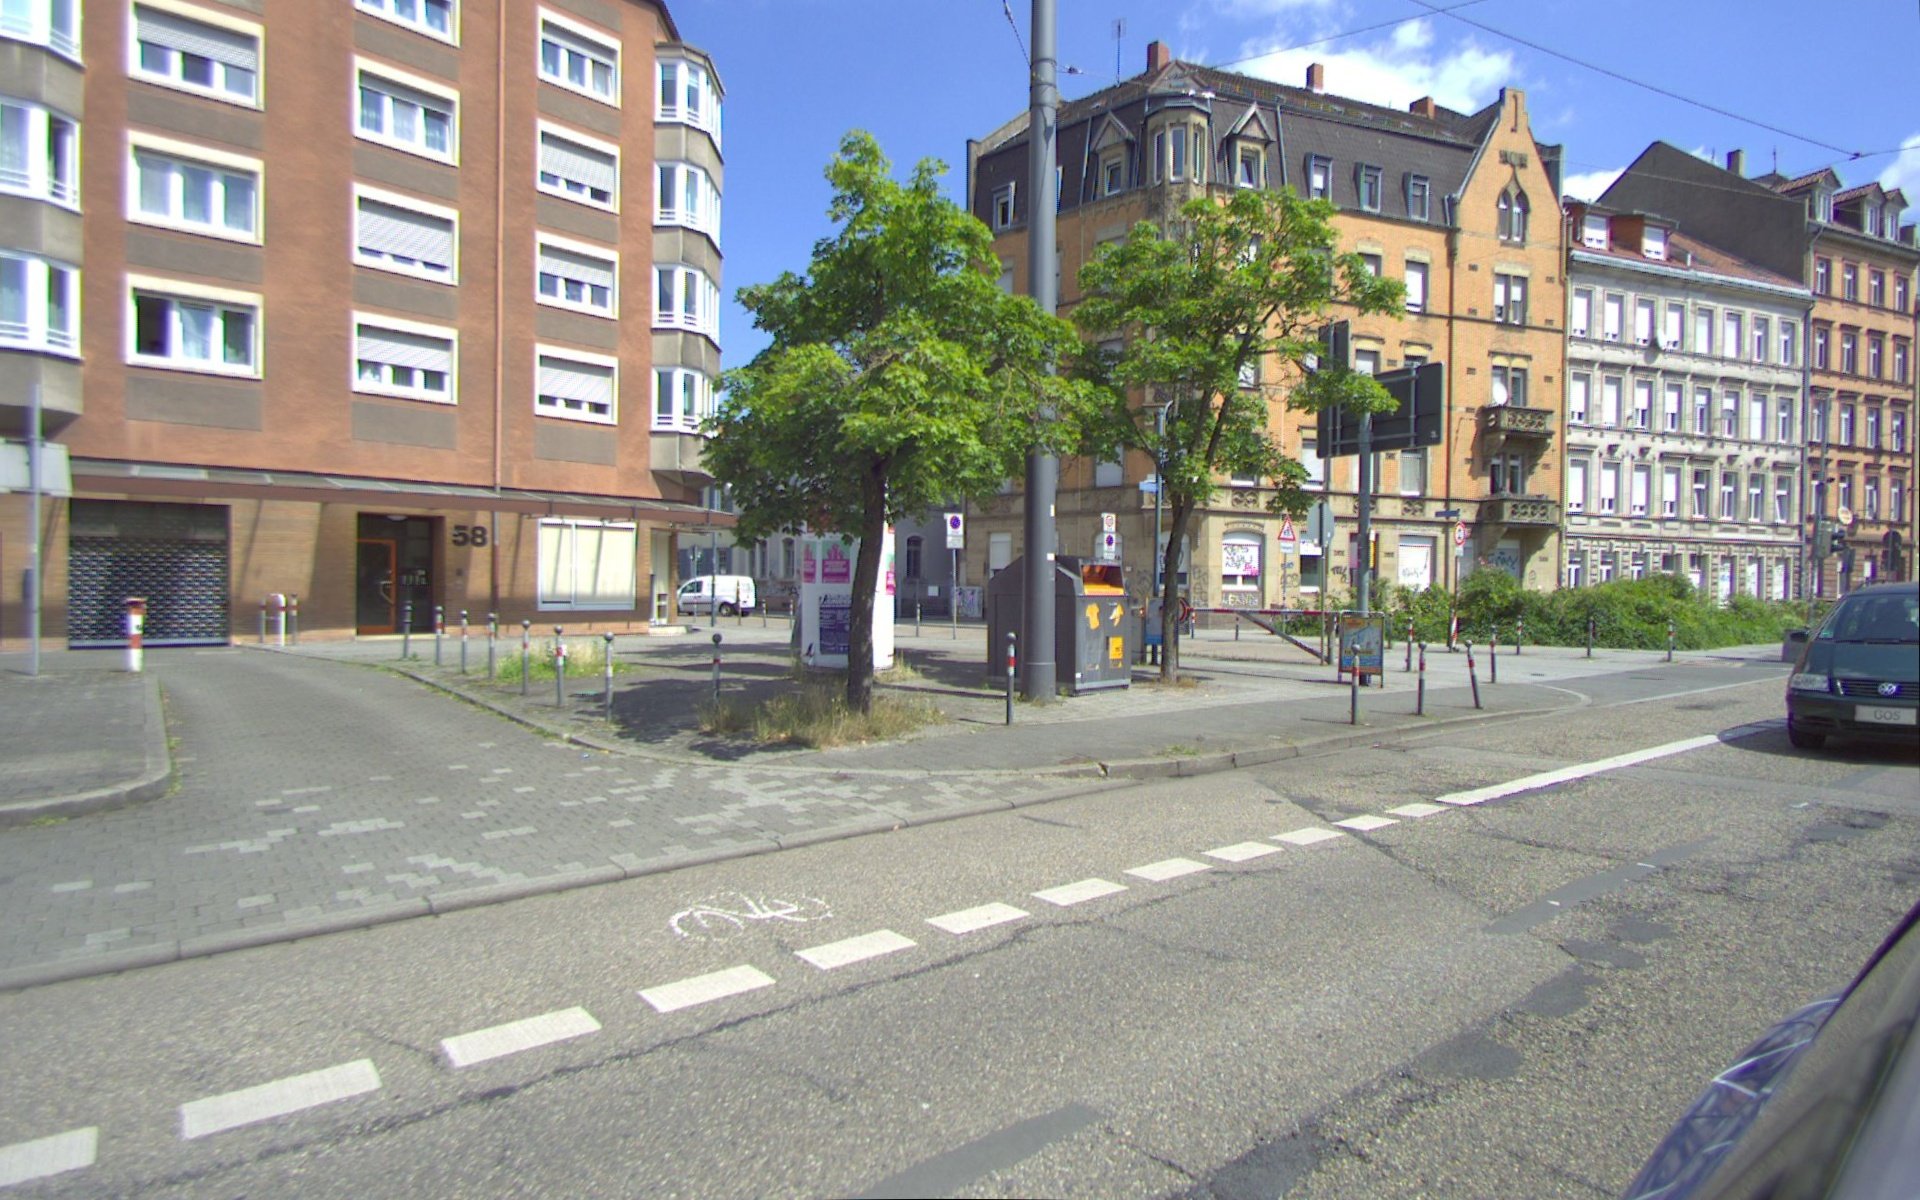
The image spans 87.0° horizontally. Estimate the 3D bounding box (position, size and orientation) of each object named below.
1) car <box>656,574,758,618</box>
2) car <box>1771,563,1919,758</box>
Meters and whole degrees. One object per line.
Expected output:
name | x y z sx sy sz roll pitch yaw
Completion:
car | -11.157 -0.218 44.736 3.943 1.845 1.931 1 1 15
car | 10.590 0.510 10.825 4.939 1.778 1.823 -1 1 -37
